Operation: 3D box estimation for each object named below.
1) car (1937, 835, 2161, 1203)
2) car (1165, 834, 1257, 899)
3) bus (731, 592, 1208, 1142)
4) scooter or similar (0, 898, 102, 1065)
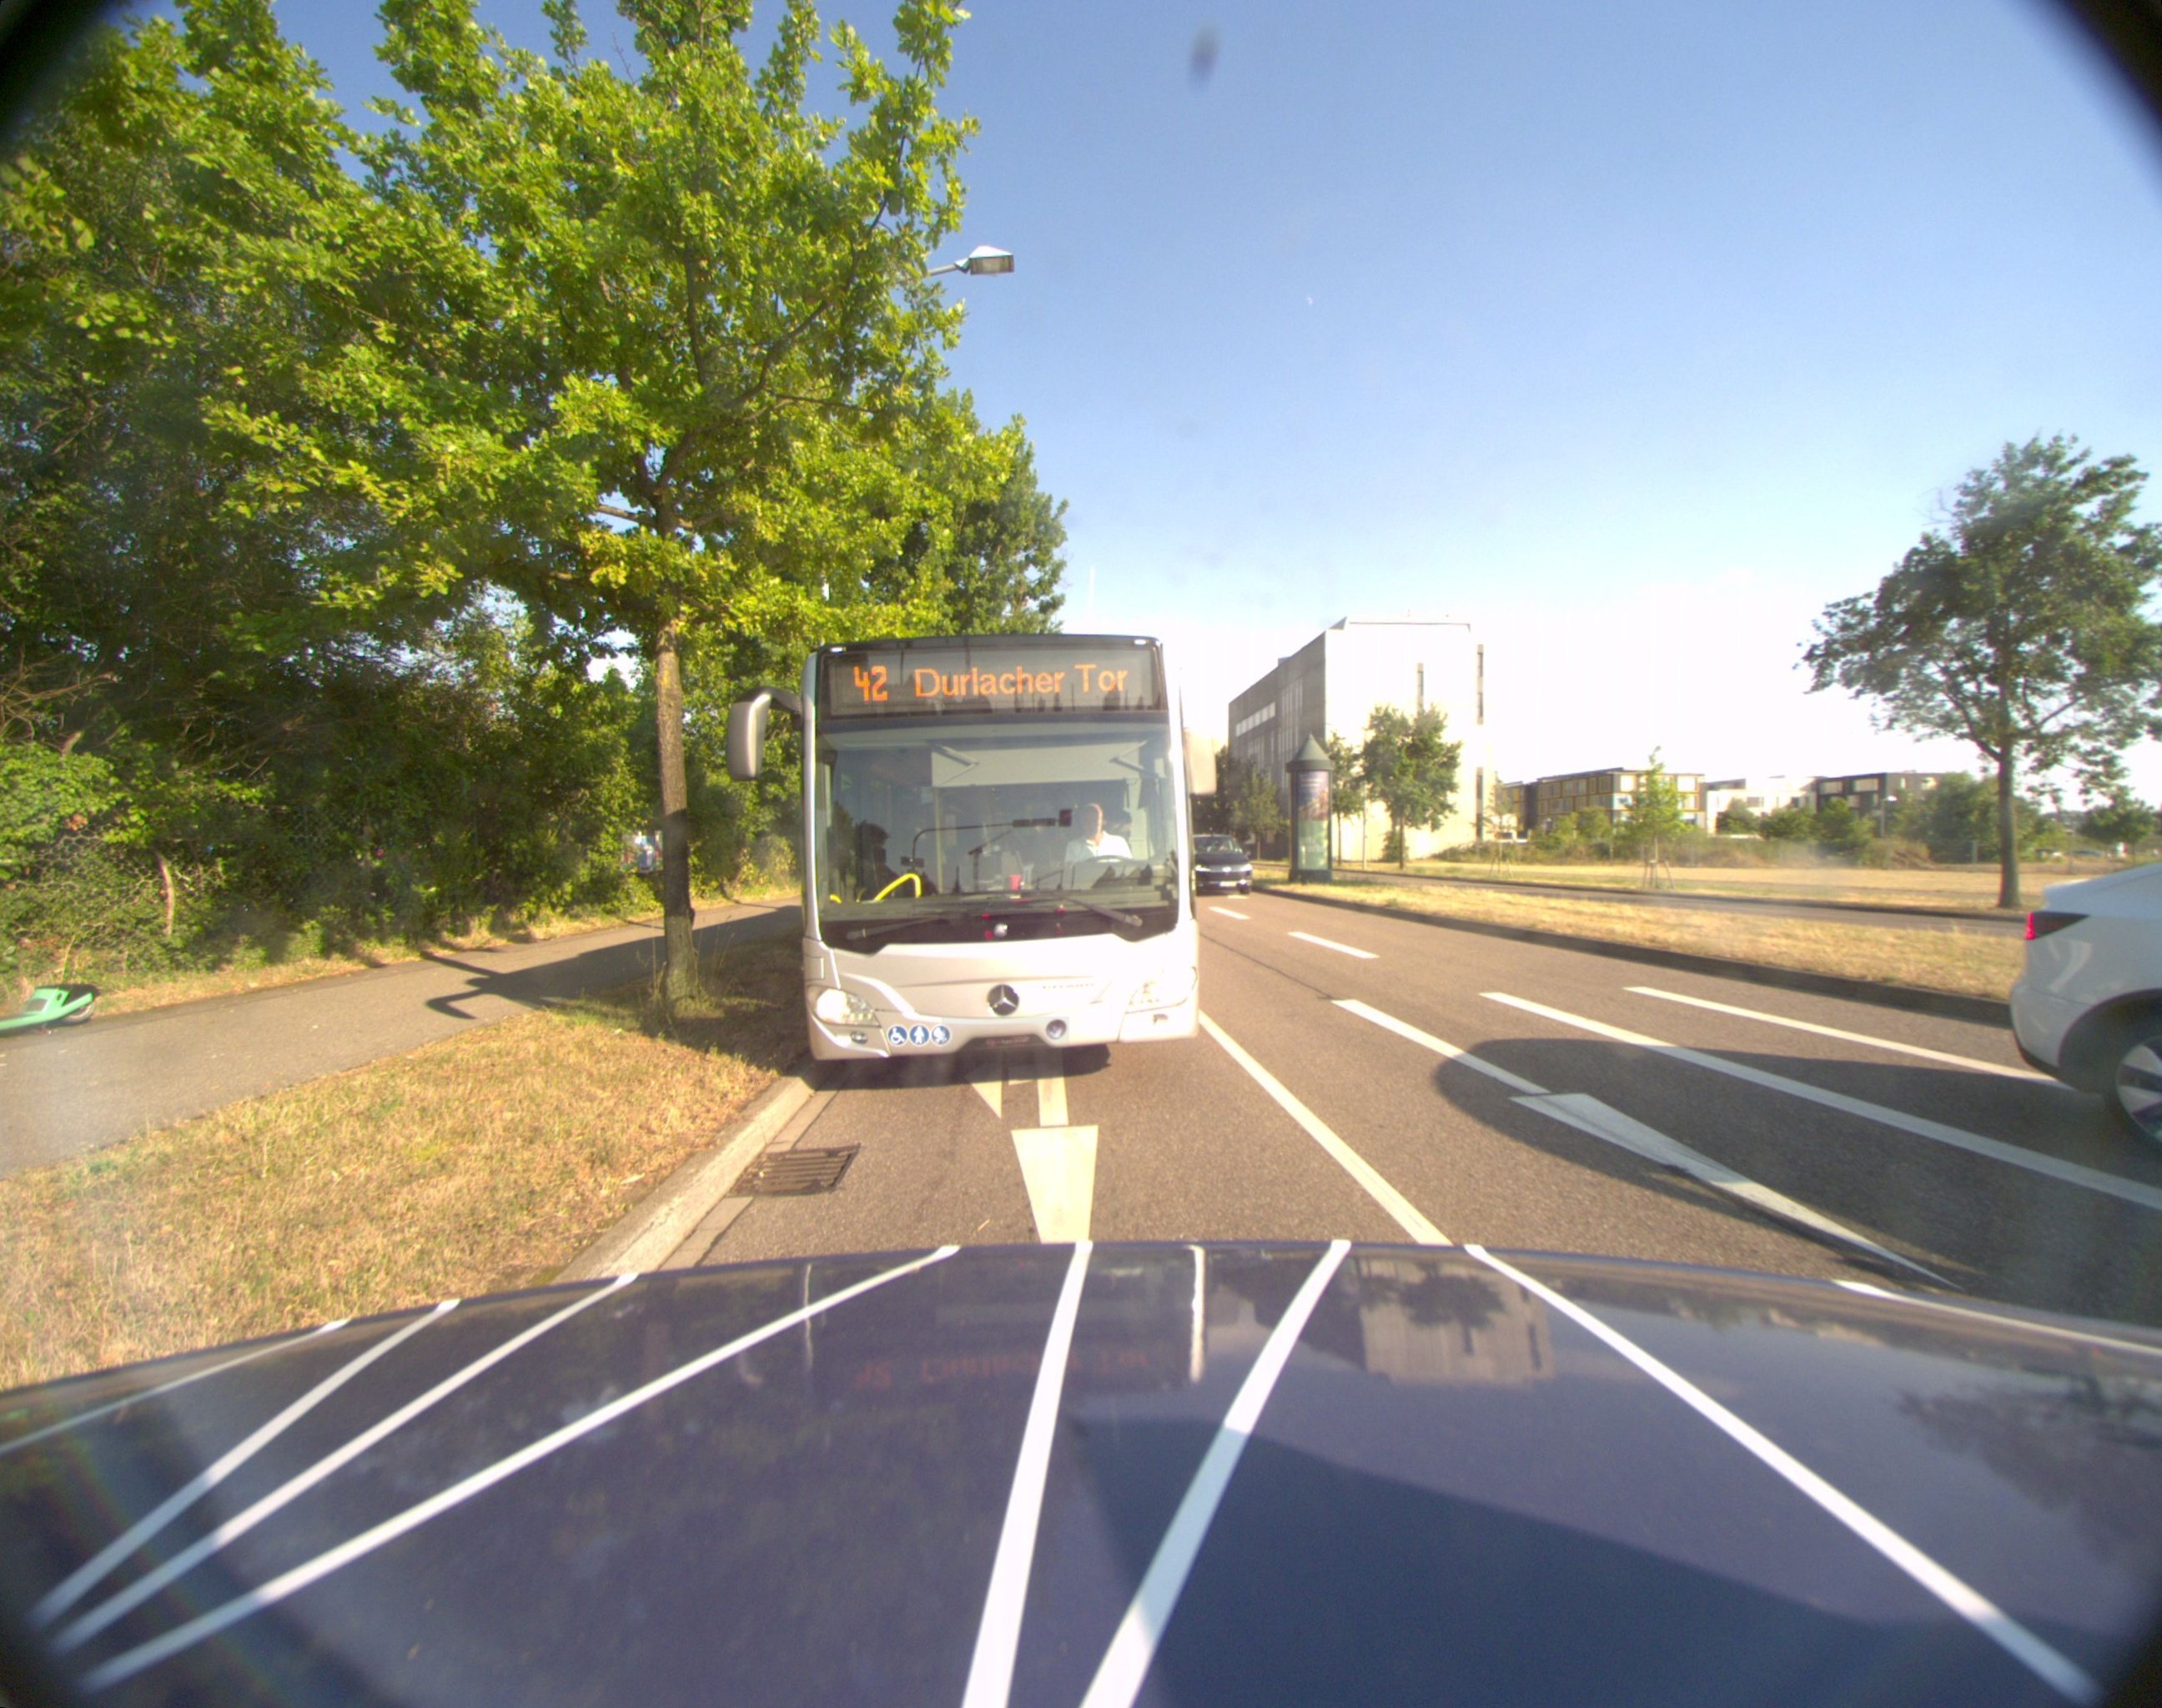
[{"bbox_3d":[5.676,0.714,1.856,1.740,1.590,4.675,-2,0,-4],"label":"car"},{"bbox_3d":[4.222,0.342,25.583,1.861,1.921,5.010,-2,1,-4],"label":"car"},{"bbox_3d":[-1.121,0.030,10.129,2.596,3.025,11.713,-1,0,-5],"label":"bus"},{"bbox_3d":[-7.578,0.898,5.221,0.249,1.120,1.095,2,1,1],"label":"scooter or similar"}]
